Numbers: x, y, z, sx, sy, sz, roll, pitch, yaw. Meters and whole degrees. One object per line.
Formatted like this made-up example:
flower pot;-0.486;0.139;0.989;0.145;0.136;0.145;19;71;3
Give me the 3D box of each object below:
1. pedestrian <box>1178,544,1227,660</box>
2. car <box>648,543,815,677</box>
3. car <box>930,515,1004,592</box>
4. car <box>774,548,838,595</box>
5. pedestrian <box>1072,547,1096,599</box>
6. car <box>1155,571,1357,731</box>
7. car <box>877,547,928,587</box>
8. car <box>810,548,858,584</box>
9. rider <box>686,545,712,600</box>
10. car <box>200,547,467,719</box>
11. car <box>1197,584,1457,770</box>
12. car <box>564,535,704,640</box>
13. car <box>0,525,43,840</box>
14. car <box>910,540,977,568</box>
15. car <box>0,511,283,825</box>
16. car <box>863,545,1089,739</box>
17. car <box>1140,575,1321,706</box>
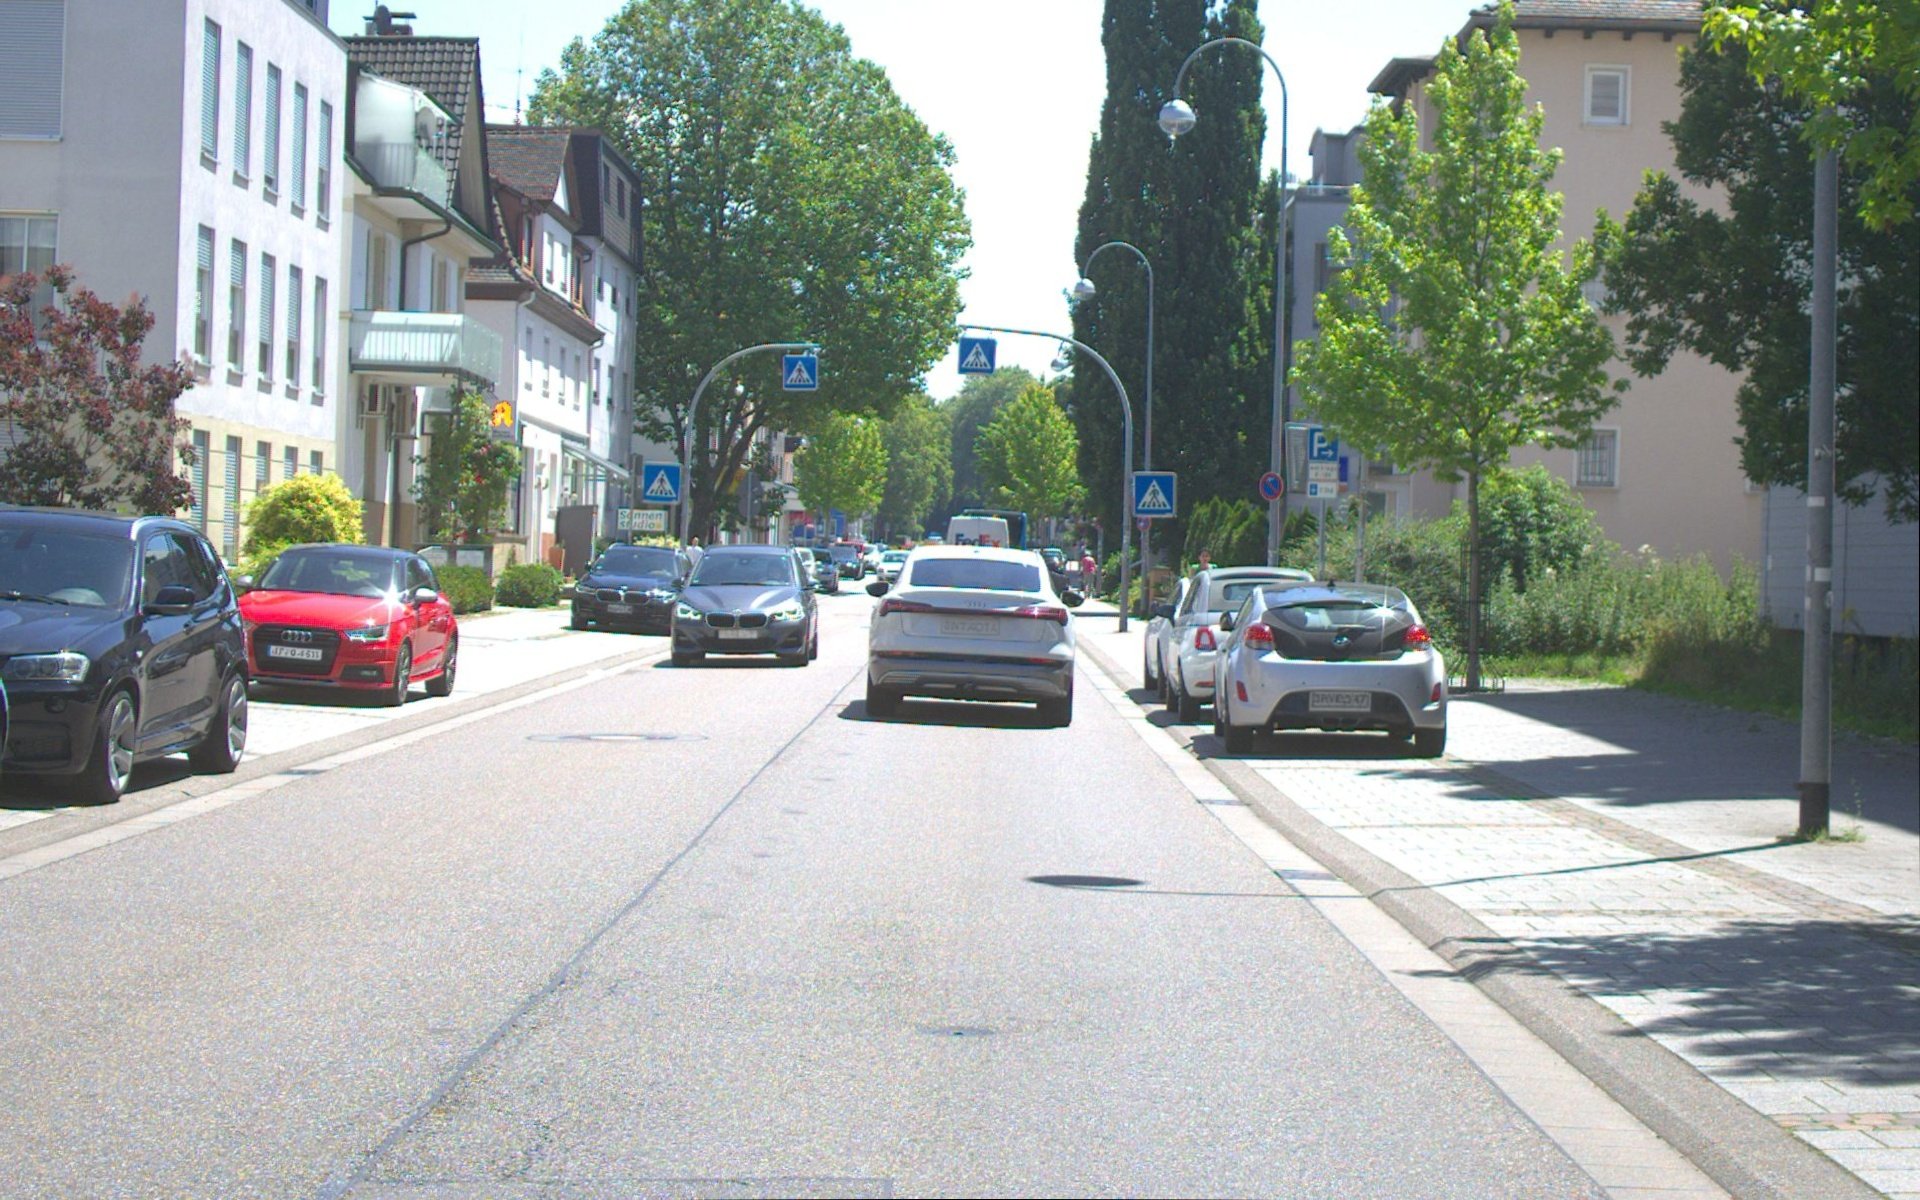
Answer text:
pedestrian;3.705;0.022;52.498;0.637;1.752;0.617;1;1;-4
car;-2.995;0.091;45.952;1.974;1.665;4.472;1;1;-1
car;0.184;-1.399;102.323;2.069;2.189;5.138;-1;1;-1
car;-5.239;-0.990;117.344;1.993;1.515;4.000;1;1;-1
pedestrian;4.130;-0.912;114.732;0.693;1.730;0.668;1;1;-4
car;2.956;0.471;35.065;1.658;1.483;4.346;0;1;0
car;-2.275;-1.319;137.183;1.978;1.515;4.000;1;1;-1
car;-5.567;-1.508;151.933;1.993;1.515;4.000;1;1;-1
rider;-7.393;-0.786;97.293;0.661;1.548;0.661;1;1;0
car;-5.840;0.262;32.445;1.649;1.414;3.905;4;1;1
car;3.055;0.604;29.339;1.862;1.368;4.000;2;1;2
car;-5.601;-0.253;59.593;1.926;1.714;4.472;1;1;1
car;-5.740;0.392;15.302;1.926;1.567;4.659;4;1;1
car;-1.010;-2.925;217.735;3.988;1.645;1.999;1;1;8
car;-5.525;0.312;20.976;1.725;1.614;4.571;4;1;1
car;0.172;0.341;33.299;1.936;1.609;4.472;4;1;1
car;3.077;0.429;39.818;1.726;1.378;4.402;0;1;0
